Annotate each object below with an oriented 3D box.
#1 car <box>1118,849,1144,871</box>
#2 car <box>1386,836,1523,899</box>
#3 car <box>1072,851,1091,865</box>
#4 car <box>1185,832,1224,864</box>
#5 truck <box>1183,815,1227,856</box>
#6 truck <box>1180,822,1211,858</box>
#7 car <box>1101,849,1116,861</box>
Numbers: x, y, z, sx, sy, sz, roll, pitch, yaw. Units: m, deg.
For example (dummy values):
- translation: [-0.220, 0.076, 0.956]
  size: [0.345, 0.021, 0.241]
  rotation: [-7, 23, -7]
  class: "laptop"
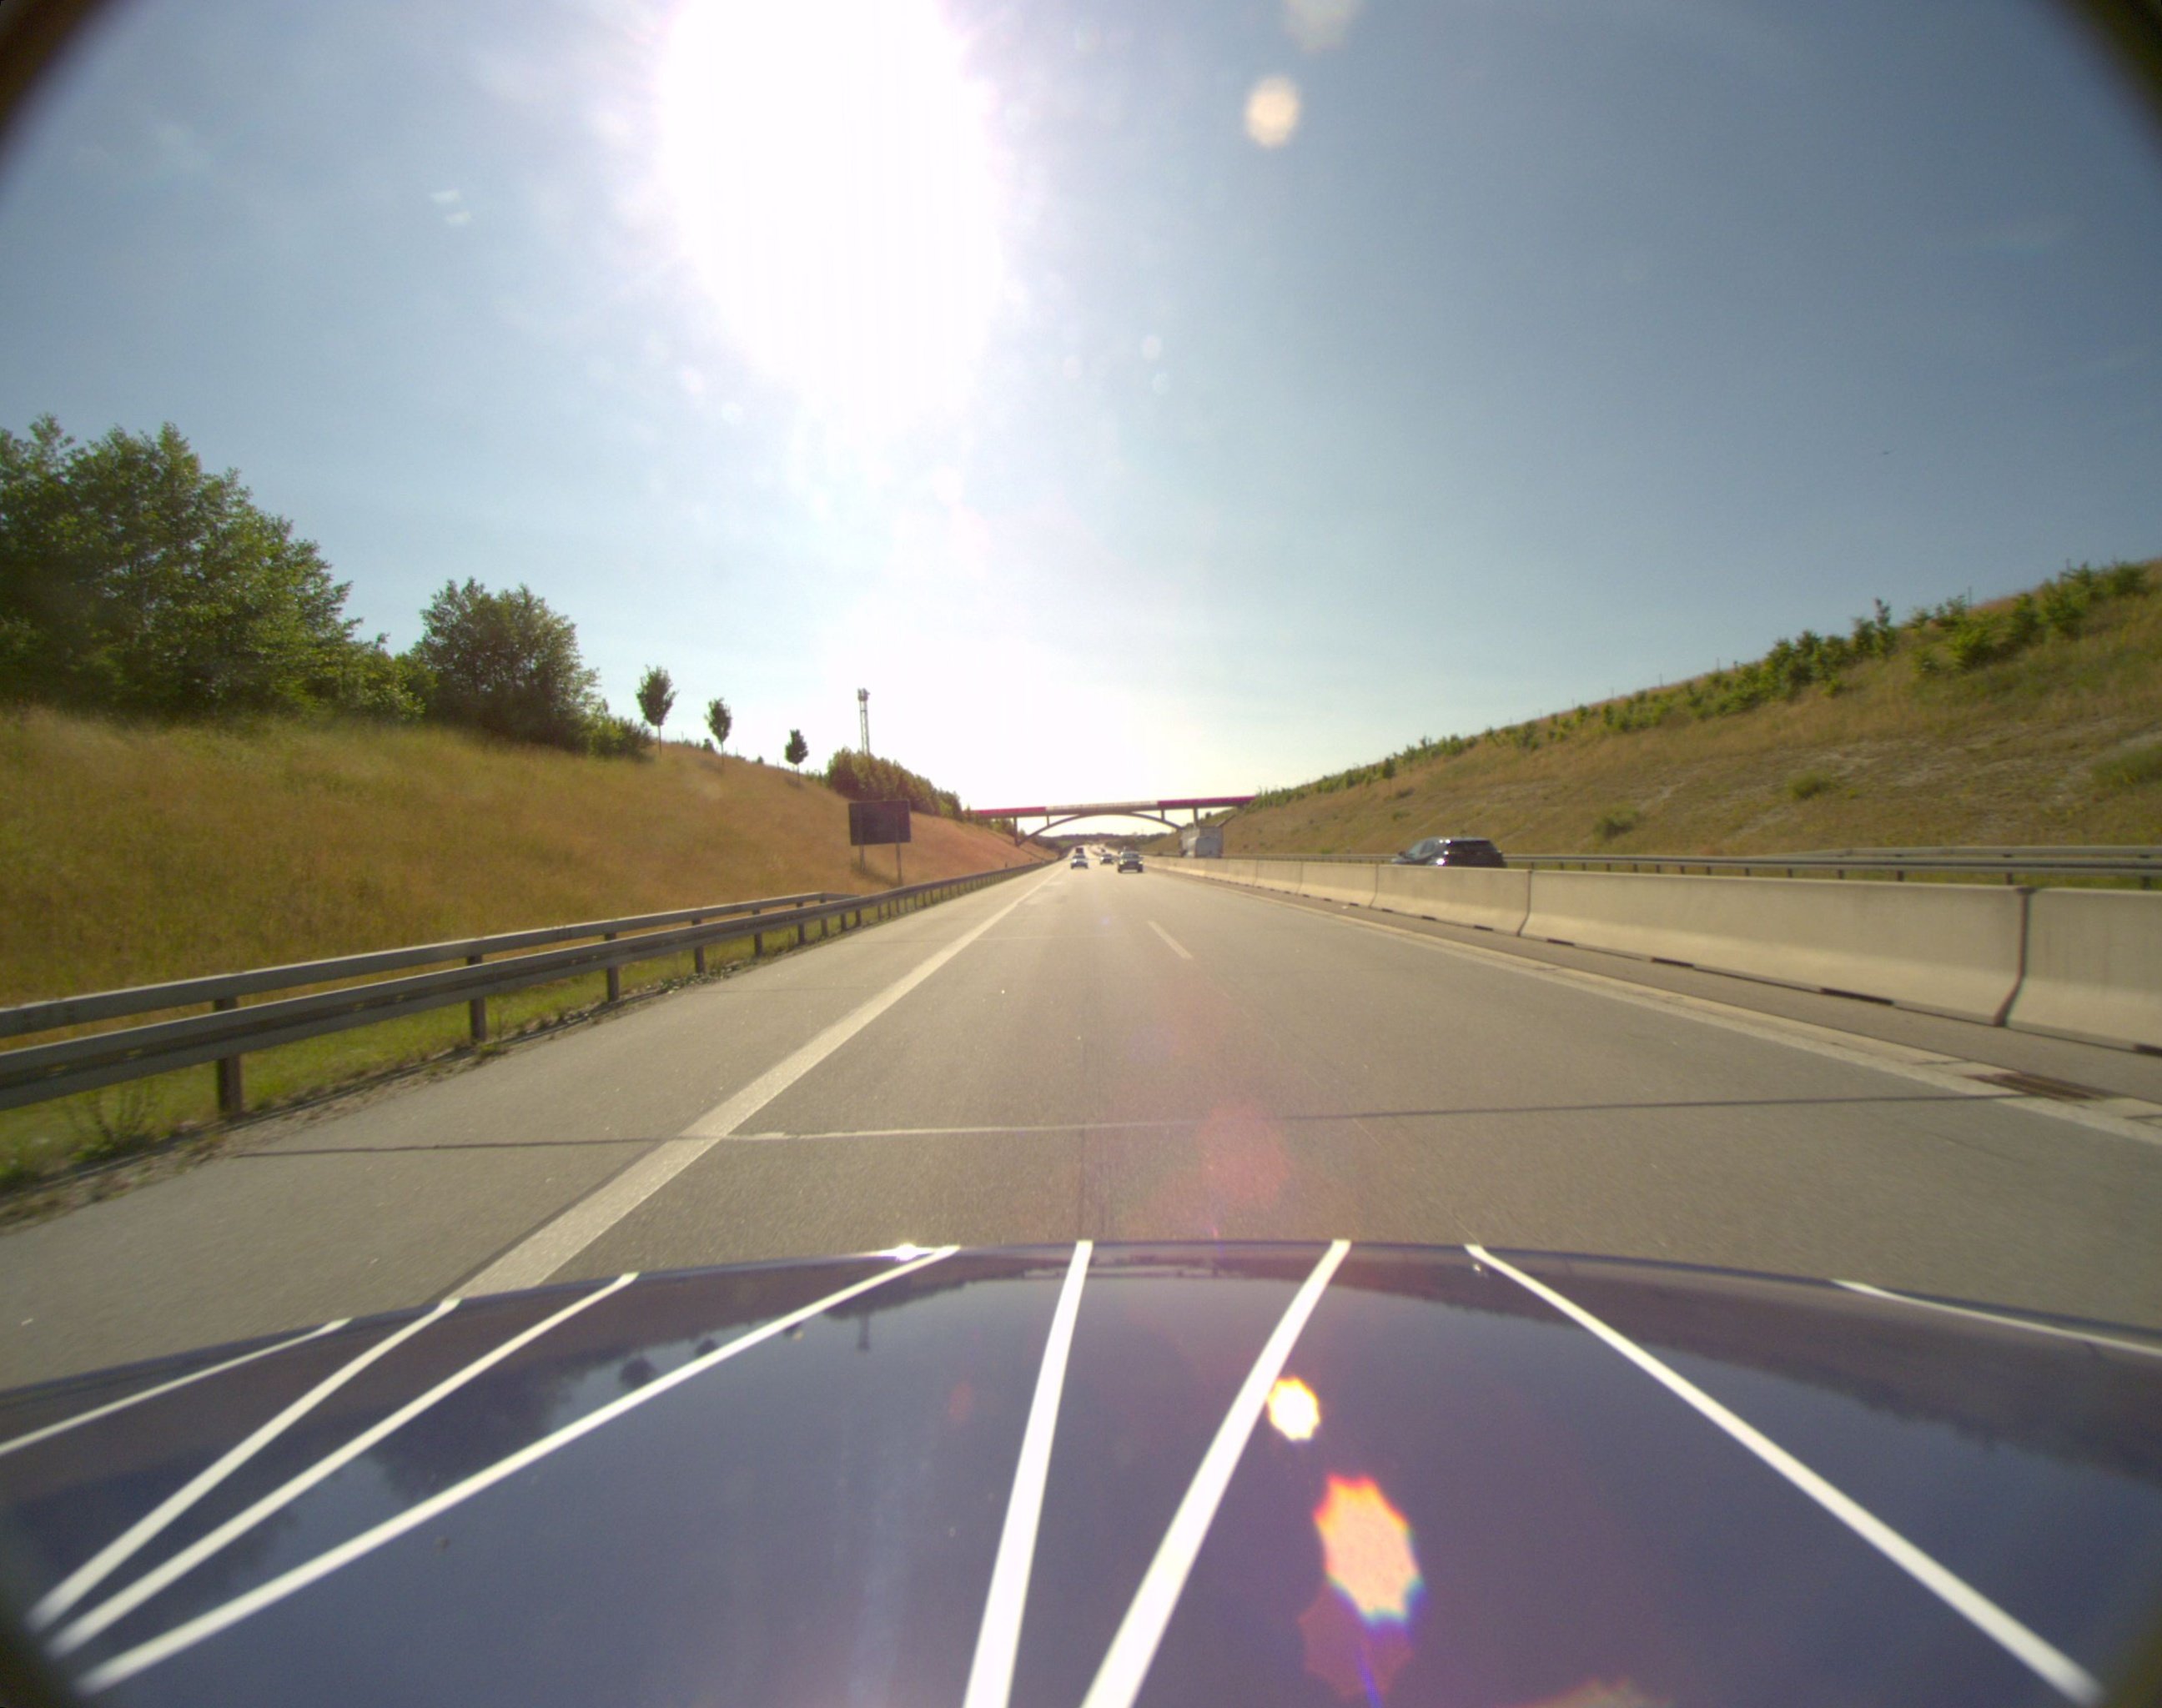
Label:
- translation: [3.887, 0.451, 60.155]
  size: [1.726, 1.578, 5.221]
  rotation: [-2, 1, 1]
  class: "car"
- translation: [10.215, 0.329, 21.183]
  size: [1.690, 1.496, 4.162]
  rotation: [-2, 0, -1]
  class: "car"
- translation: [0.054, 0.407, 82.189]
  size: [1.909, 1.449, 4.375]
  rotation: [-2, 1, 2]
  class: "car"
- translation: [10.208, -0.536, 63.327]
  size: [2.211, 2.441, 5.831]
  rotation: [-2, 1, -1]
  class: "car"
- translation: [14.421, -2.060, 89.566]
  size: [3.023, 4.284, 12.733]
  rotation: [-2, 0, 1]
  class: "truck"
- translation: [14.526, -1.714, 96.635]
  size: [3.023, 4.284, 5.968]
  rotation: [-2, 1, 1]
  class: "truck"
- translation: [3.658, 0.140, 102.578]
  size: [1.776, 1.560, 4.988]
  rotation: [-2, 1, 1]
  class: "car"
